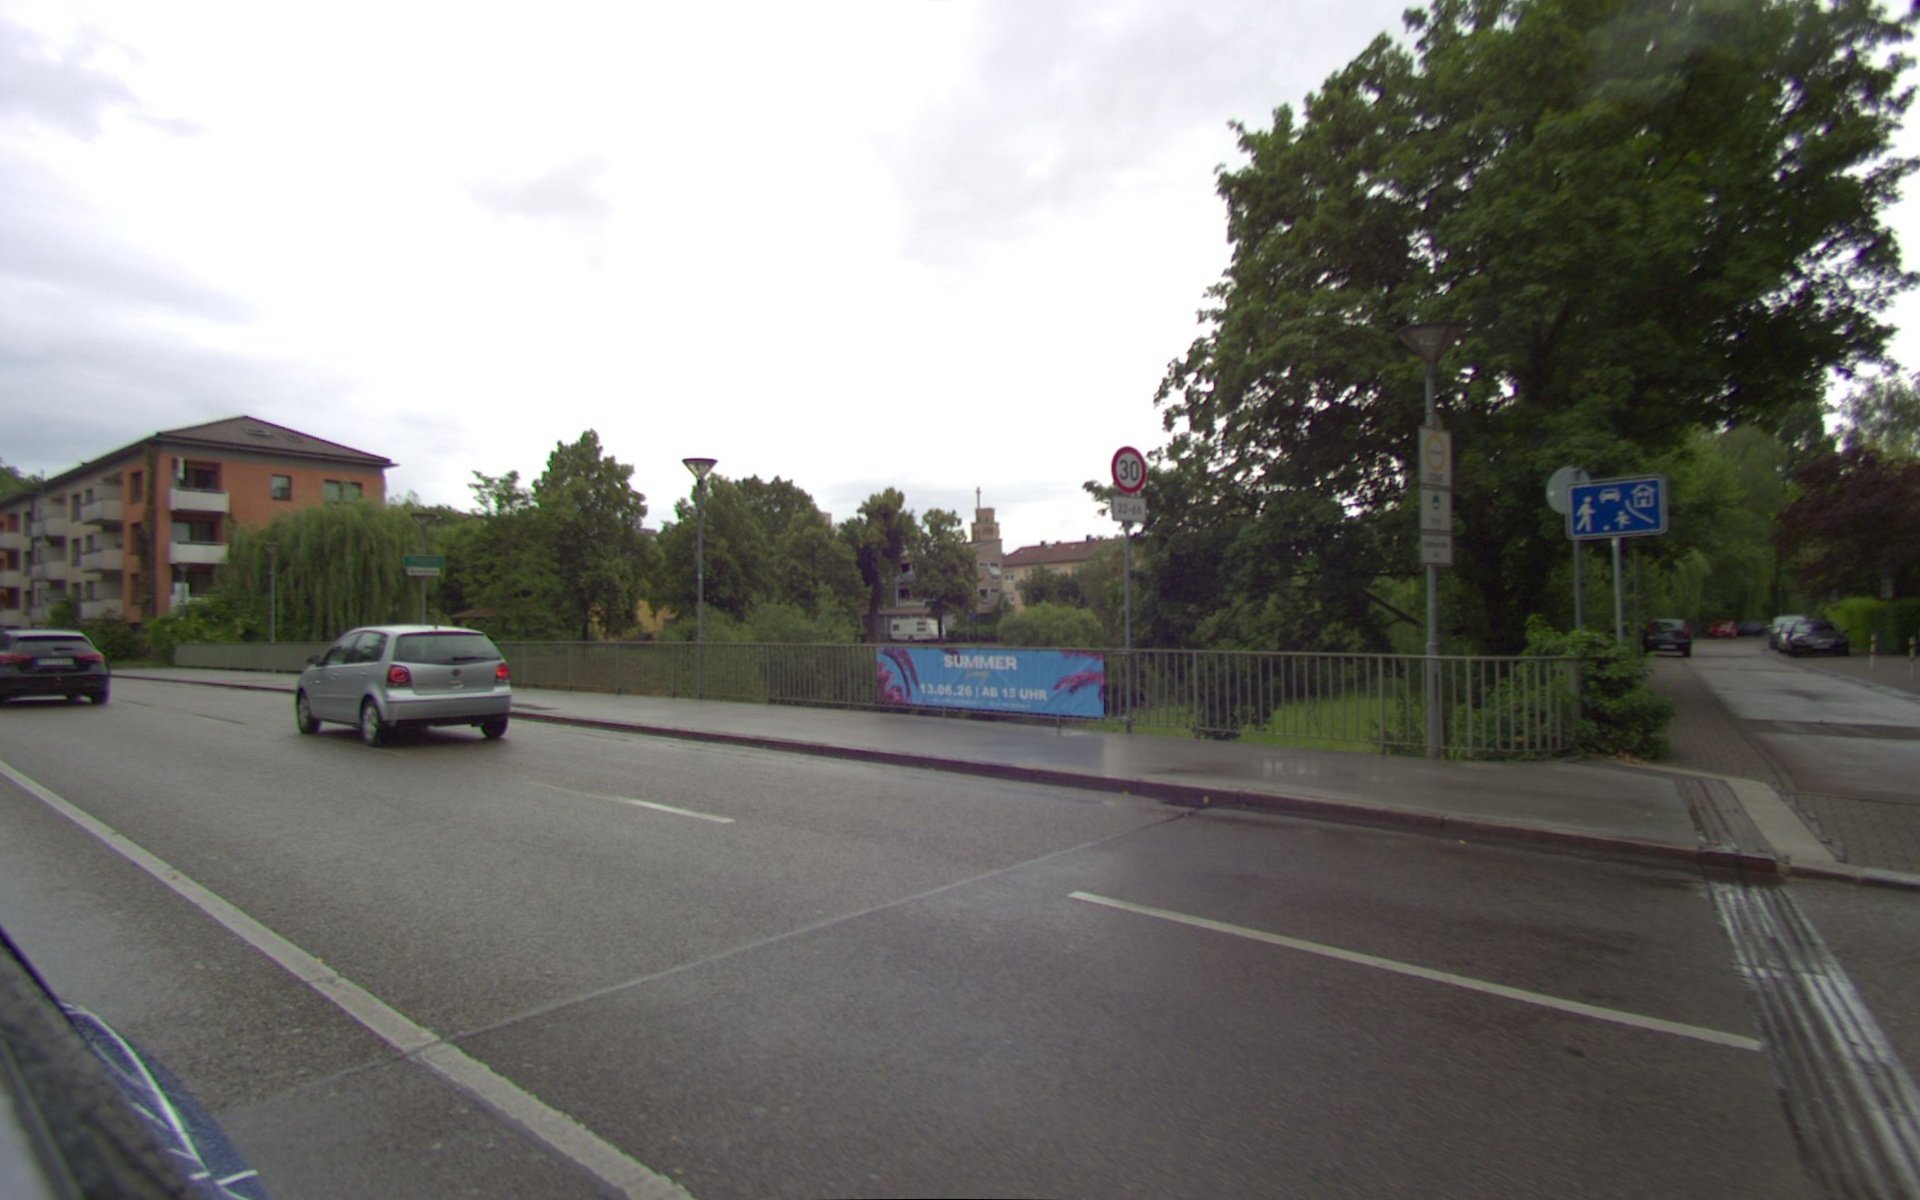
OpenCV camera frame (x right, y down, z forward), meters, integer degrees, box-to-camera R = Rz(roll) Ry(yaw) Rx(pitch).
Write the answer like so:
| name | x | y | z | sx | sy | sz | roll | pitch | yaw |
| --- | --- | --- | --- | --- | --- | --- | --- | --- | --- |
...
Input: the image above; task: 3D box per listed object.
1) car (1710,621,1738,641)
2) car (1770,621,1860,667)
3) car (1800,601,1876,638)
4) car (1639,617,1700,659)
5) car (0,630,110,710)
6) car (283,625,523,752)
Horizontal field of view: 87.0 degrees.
| name | x | y | z | sx | sy | sz | roll | pitch | yaw |
| --- | --- | --- | --- | --- | --- | --- | --- | --- | --- |
| car | 62.264 | 2.515 | 82.464 | 1.738 | 1.593 | 3.837 | -2 | -2 | 37 |
| car | 34.752 | 1.771 | 41.248 | 1.993 | 1.666 | 4.706 | -4 | -2 | 31 |
| car | 43.597 | 0.964 | 50.350 | 1.993 | 1.666 | 4.706 | -4 | -2 | 31 |
| car | 28.641 | 1.523 | 40.949 | 1.735 | 1.593 | 3.845 | -2 | -2 | 31 |
| car | -18.251 | 1.316 | 19.887 | 4.091 | 1.427 | 1.692 | -2 | -3 | 40 |
| car | -7.399 | 1.051 | 13.317 | 3.684 | 1.430 | 1.609 | -1 | -2 | 41 |
